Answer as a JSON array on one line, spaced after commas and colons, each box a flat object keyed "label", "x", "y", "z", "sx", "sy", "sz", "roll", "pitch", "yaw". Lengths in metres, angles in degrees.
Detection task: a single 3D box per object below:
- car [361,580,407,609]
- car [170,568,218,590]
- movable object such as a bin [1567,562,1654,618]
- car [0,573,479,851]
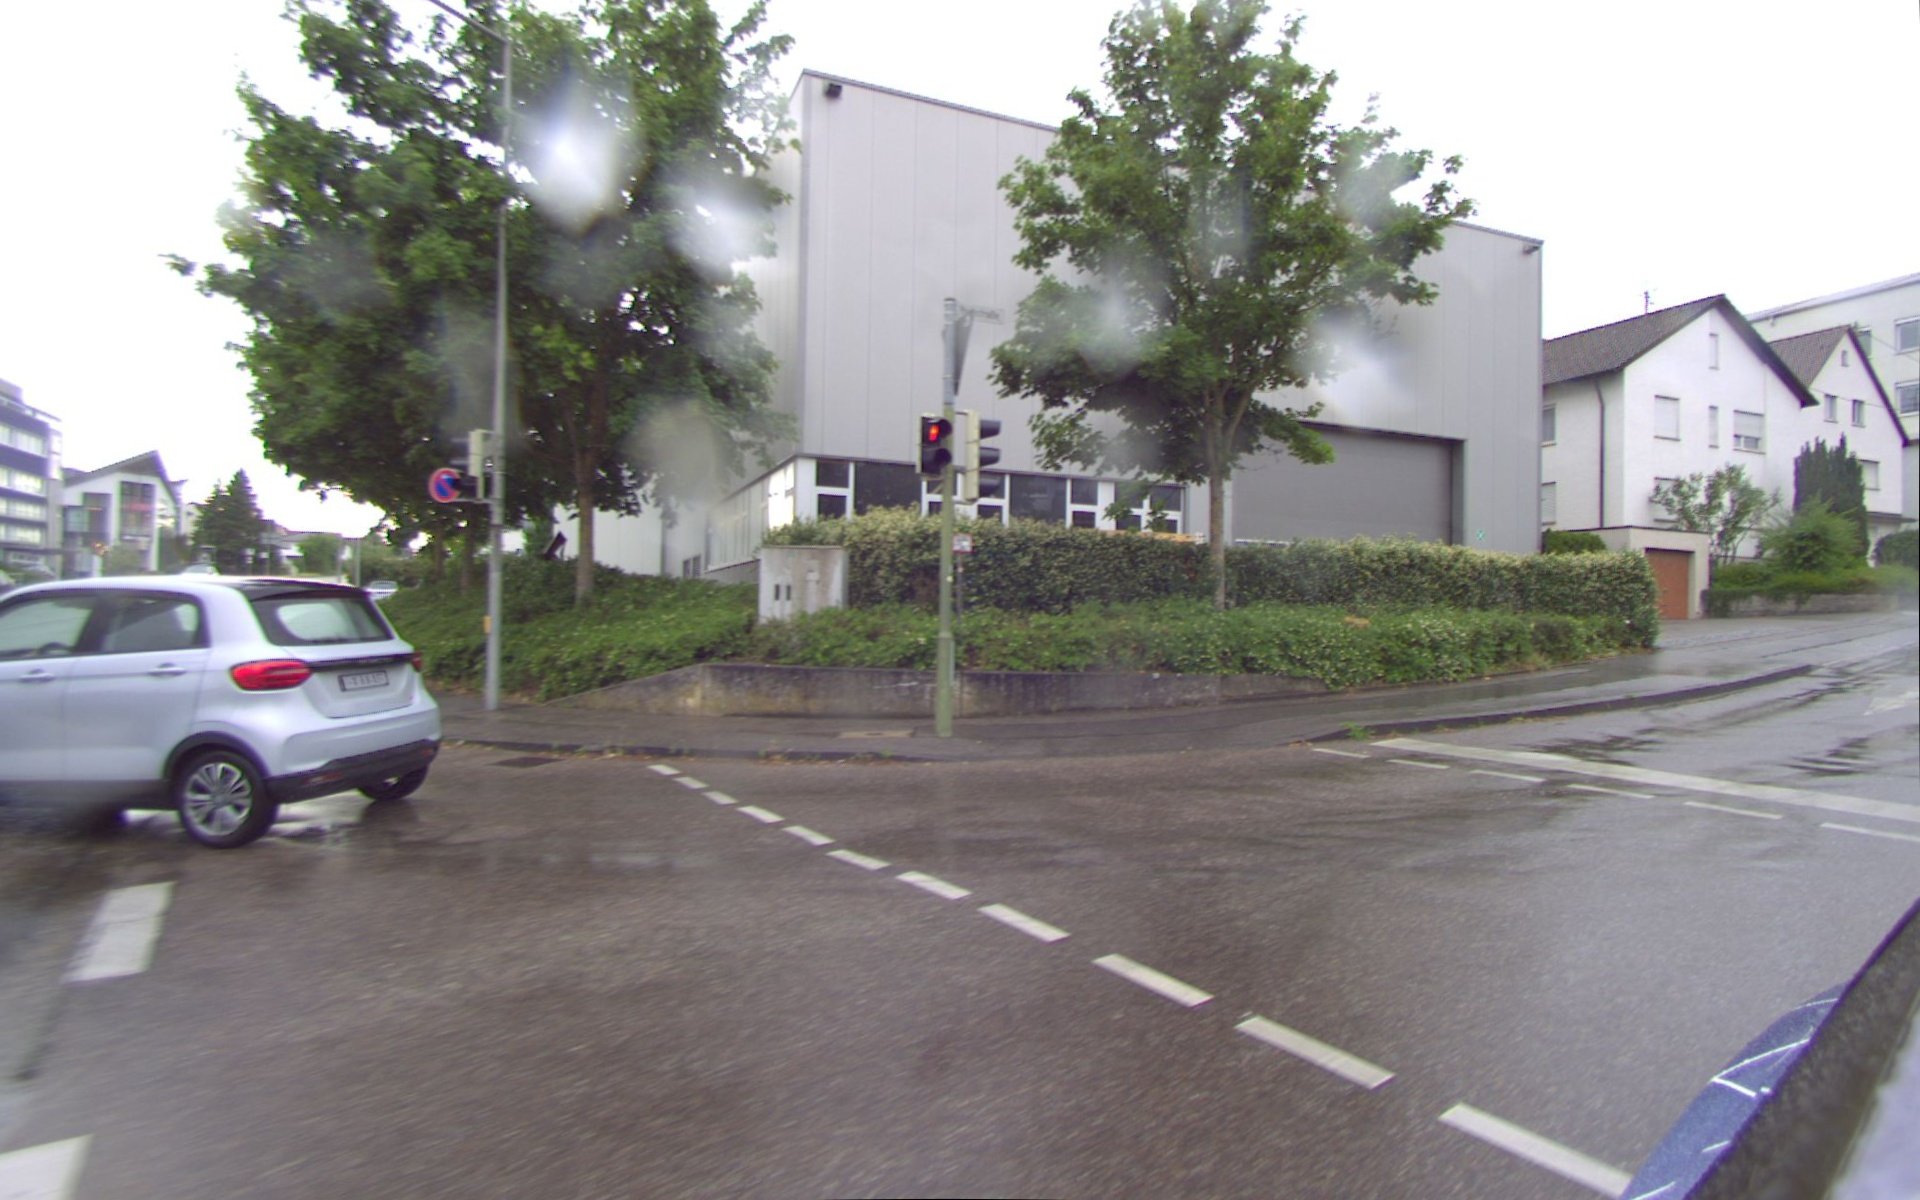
[{"label": "car", "x": -31.568, "y": -0.297, "z": 55.556, "sx": 1.702, "sy": 1.497, "sz": 4.028, "roll": 1, "pitch": 0, "yaw": -22}, {"label": "car", "x": -56.991, "y": -1.548, "z": 75.333, "sx": 1.860, "sy": 1.564, "sz": 4.029, "roll": -1, "pitch": 1, "yaw": -22}, {"label": "movable object such as a bin", "x": 18.579, "y": -0.299, "z": 28.916, "sx": 1.556, "sy": 1.554, "sz": 1.452, "roll": 0, "pitch": 1, "yaw": -22}, {"label": "car", "x": -5.485, "y": 0.614, "z": 6.702, "sx": 3.836, "sy": 1.574, "sz": 1.693, "roll": 0, "pitch": 1, "yaw": 4}]
